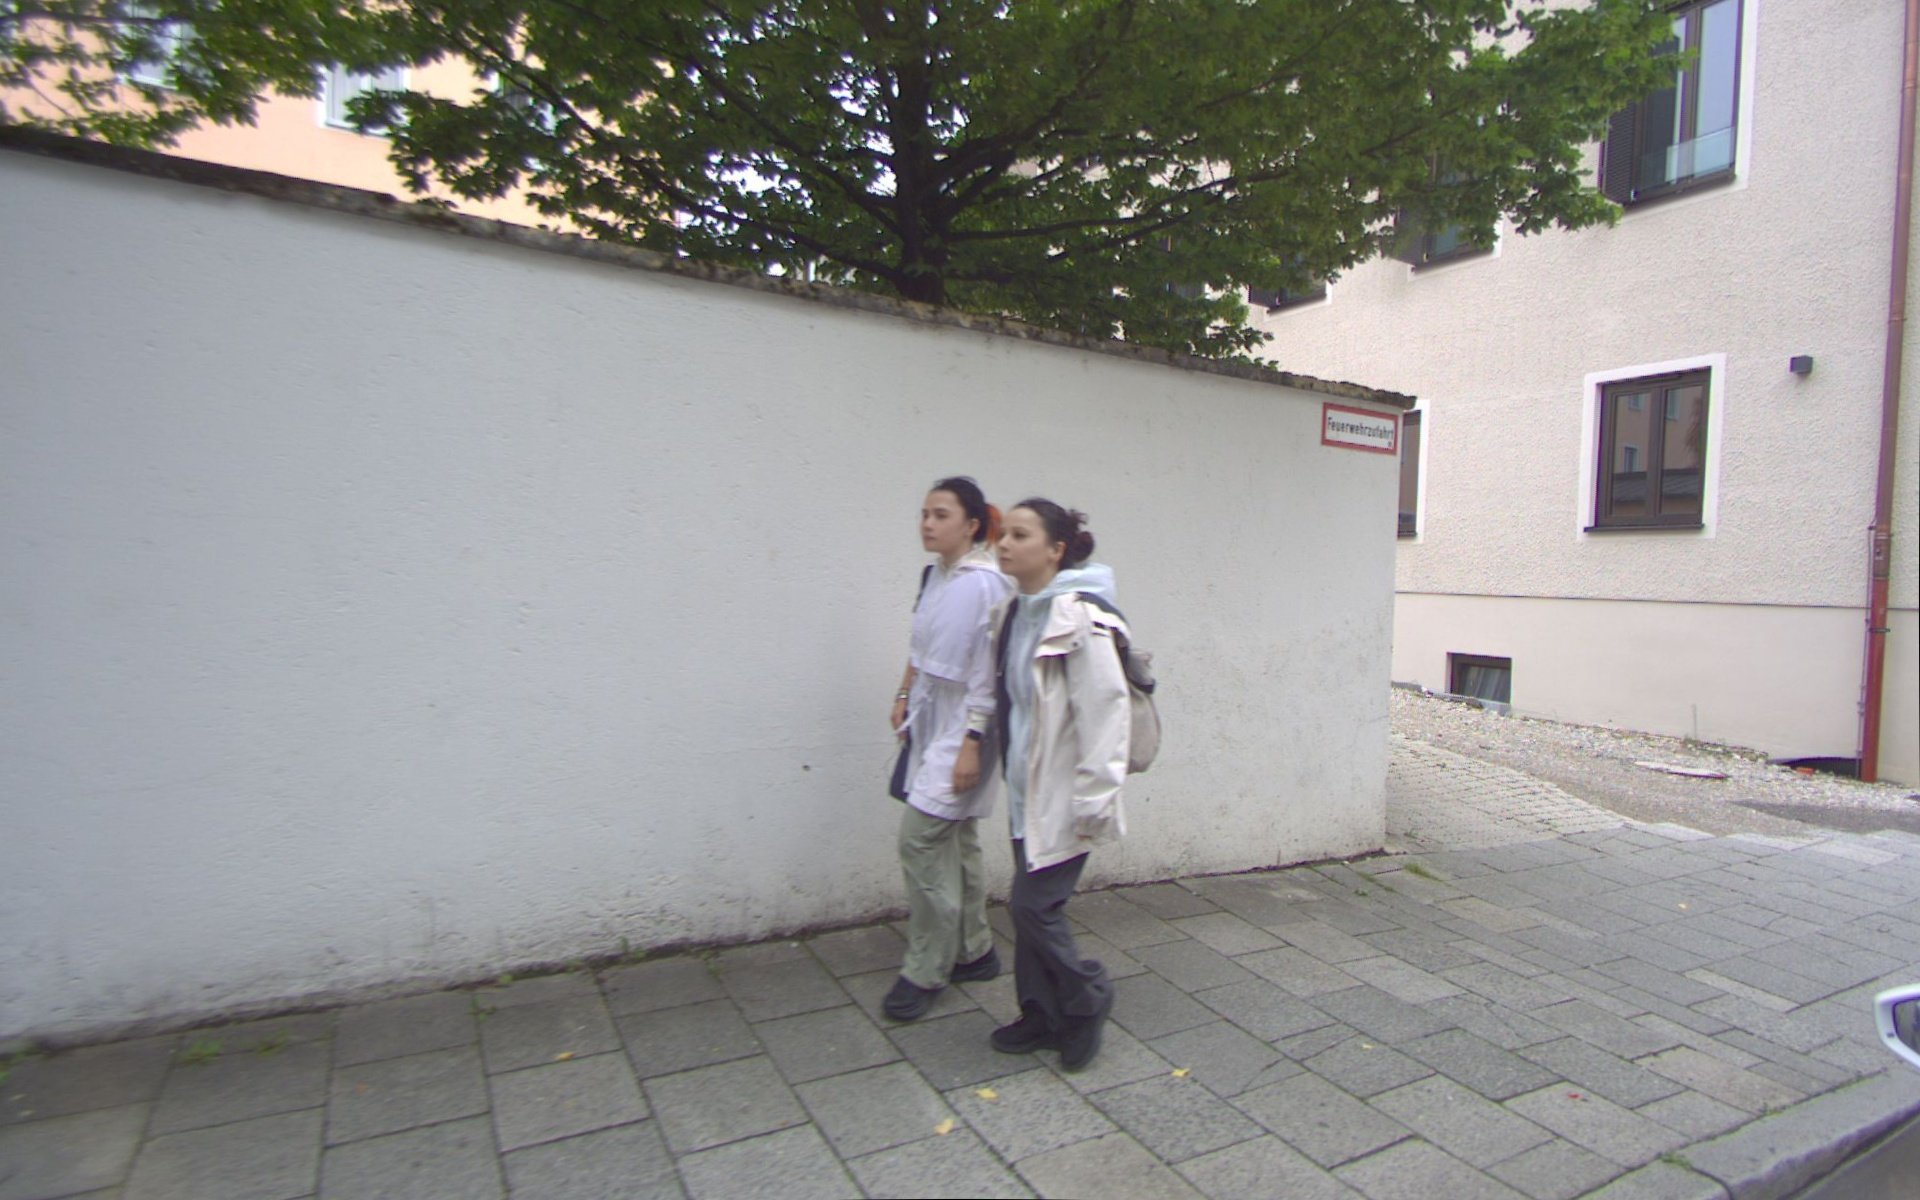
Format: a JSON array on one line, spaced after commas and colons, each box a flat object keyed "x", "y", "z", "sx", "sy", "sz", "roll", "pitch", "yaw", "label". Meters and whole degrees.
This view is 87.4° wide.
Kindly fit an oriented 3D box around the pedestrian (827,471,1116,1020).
[{"x": 0.018, "y": 0.430, "z": 3.408, "sx": 0.679, "sy": 1.643, "sz": 0.610, "roll": 2, "pitch": 4, "yaw": -29, "label": "pedestrian"}]

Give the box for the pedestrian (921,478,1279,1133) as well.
[{"x": 0.379, "y": 0.501, "z": 2.877, "sx": 0.705, "sy": 1.600, "sz": 0.619, "roll": 2, "pitch": 2, "yaw": -30, "label": "pedestrian"}]
